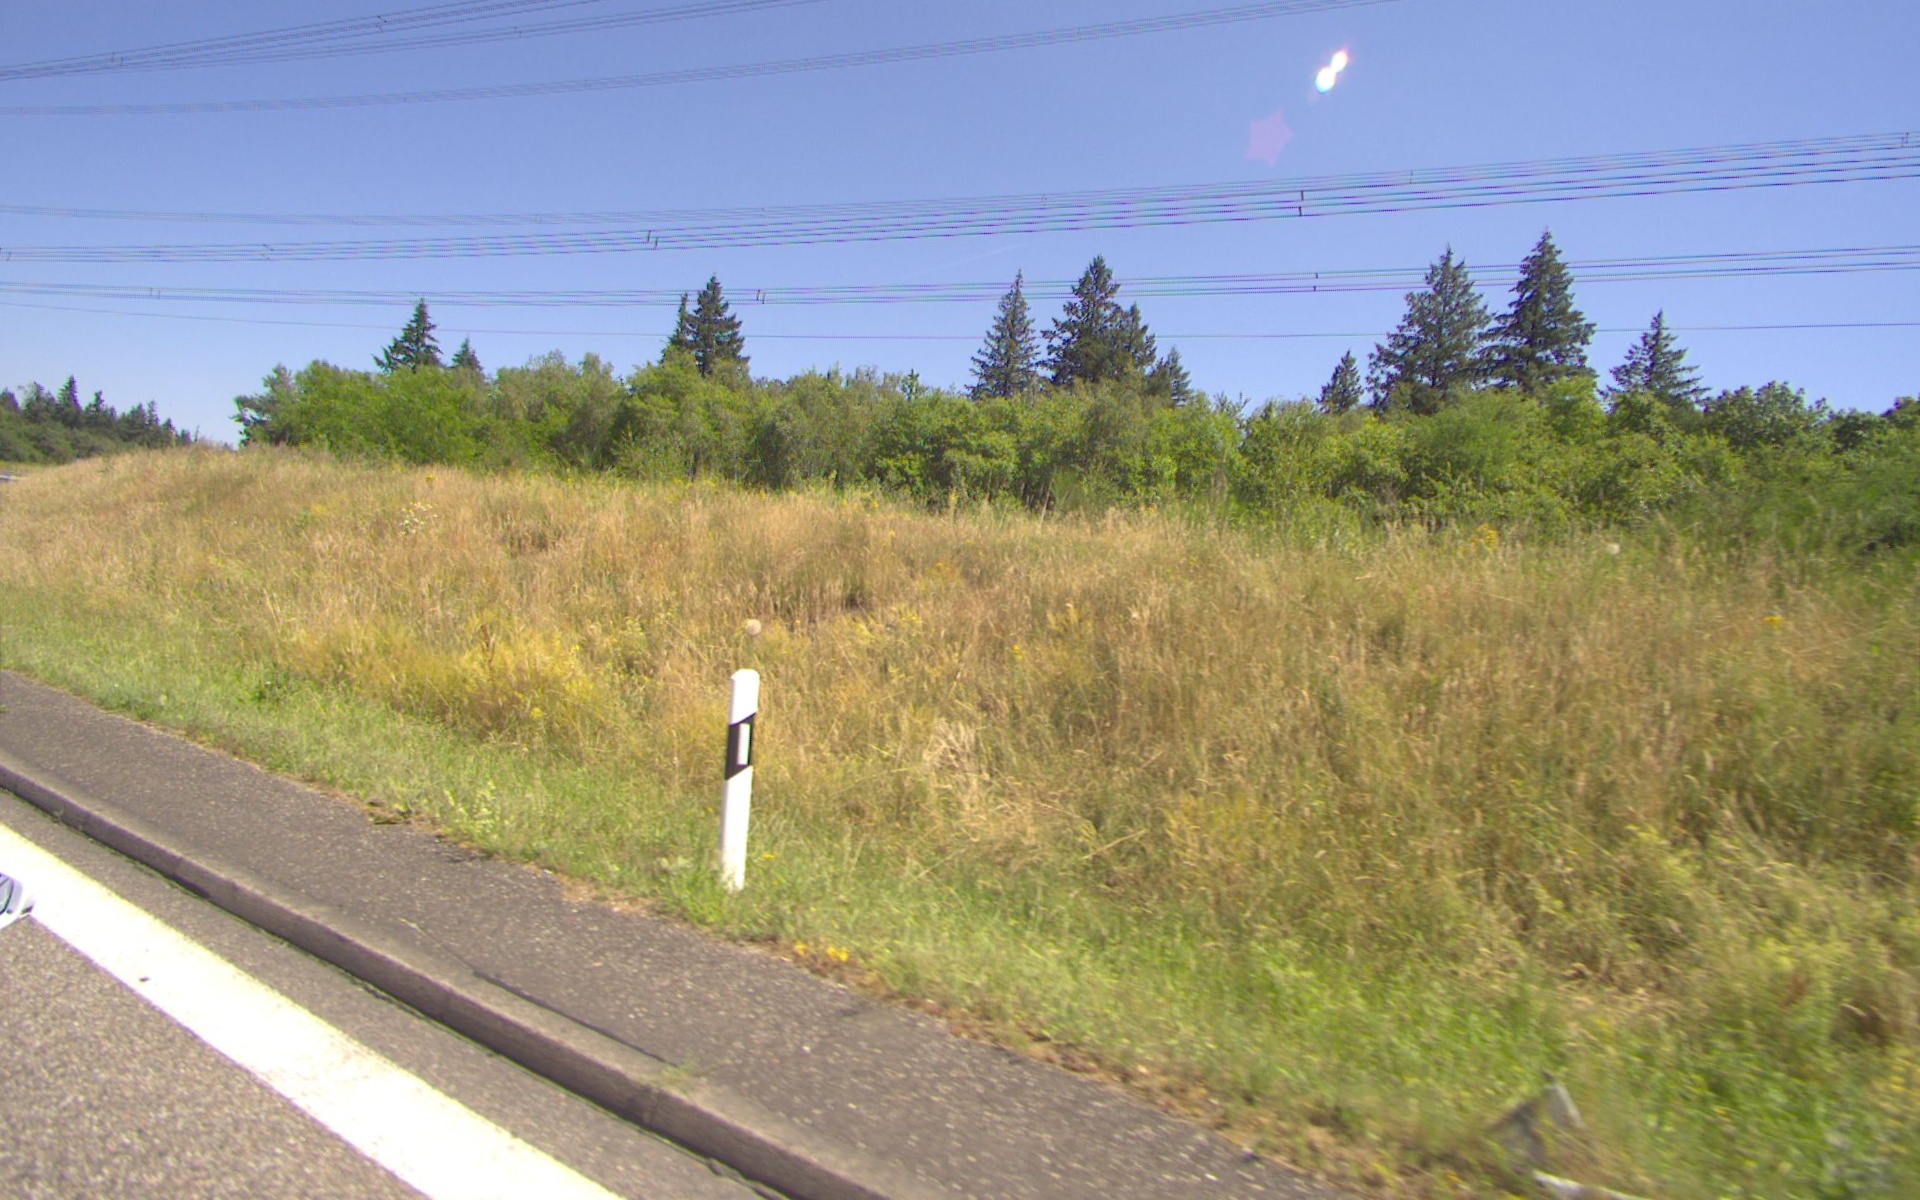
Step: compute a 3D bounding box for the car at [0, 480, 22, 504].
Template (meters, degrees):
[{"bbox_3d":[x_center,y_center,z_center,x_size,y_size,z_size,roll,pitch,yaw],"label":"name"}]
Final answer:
[{"bbox_3d":[-73.559,-8.304,76.983,1.869,1.706,3.962,5,2,-34],"label":"car"}]
